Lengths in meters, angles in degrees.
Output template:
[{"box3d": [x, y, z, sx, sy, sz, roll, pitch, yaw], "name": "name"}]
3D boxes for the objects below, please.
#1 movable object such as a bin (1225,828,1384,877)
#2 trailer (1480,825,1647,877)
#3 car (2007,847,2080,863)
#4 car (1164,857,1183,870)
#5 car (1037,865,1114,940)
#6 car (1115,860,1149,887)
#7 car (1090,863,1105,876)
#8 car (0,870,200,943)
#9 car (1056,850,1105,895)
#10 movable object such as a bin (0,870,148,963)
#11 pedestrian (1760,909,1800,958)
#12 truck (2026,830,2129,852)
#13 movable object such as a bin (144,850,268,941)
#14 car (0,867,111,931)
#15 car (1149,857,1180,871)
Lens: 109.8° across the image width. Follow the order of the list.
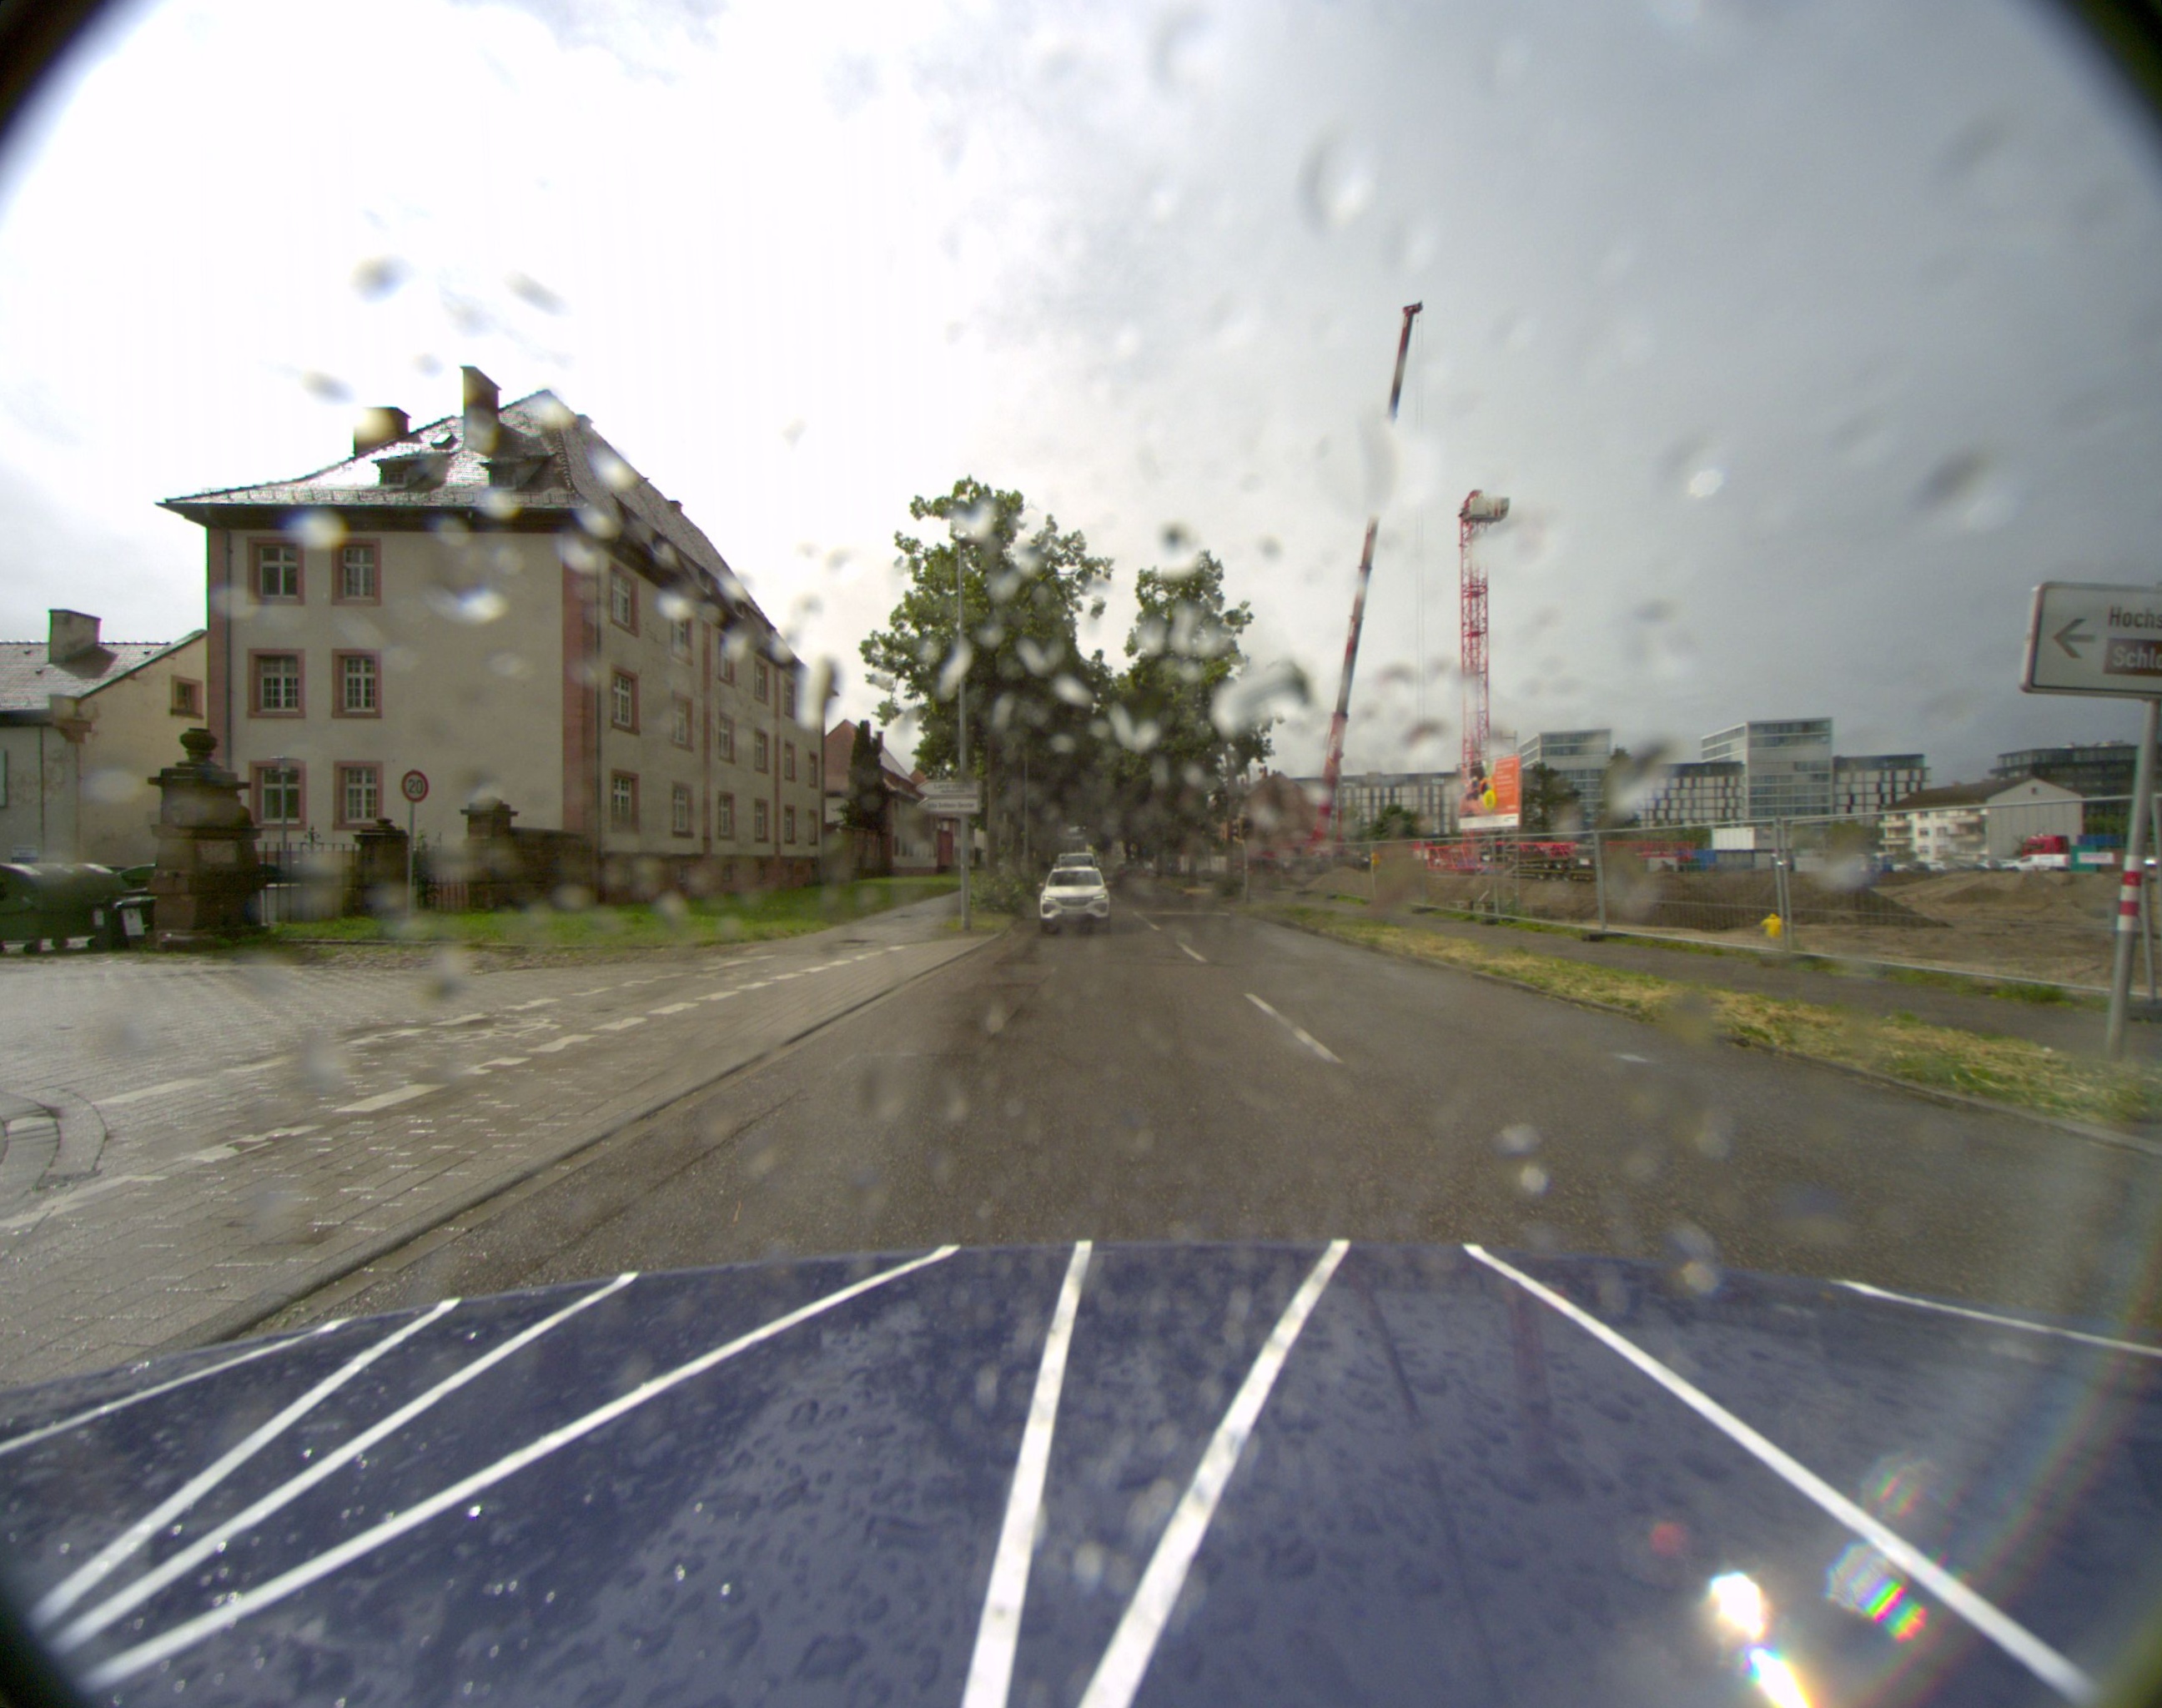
[{"box3d": [23.695, -0.148, 81.184, 15.943, 4.532, 3.101, -2, 1, 2], "name": "movable object such as a bin"}, {"box3d": [35.400, 0.027, 56.984, 2.968, 3.213, 14.312, -4, -1, -2], "name": "trailer"}, {"box3d": [98.938, 0.083, 78.194, 1.821, 1.509, 4.581, -2, 1, 2], "name": "car"}, {"box3d": [12.132, 1.219, 99.932, 1.693, 1.521, 3.998, -2, 1, -3], "name": "car"}, {"box3d": [-0.150, 1.067, 18.298, 1.608, 1.499, 3.999, -2, 0, -1], "name": "car"}, {"box3d": [3.107, 1.156, 46.692, 1.845, 1.598, 4.000, 1, 0, 0], "name": "car"}, {"box3d": [2.025, 1.947, 93.628, 1.818, 1.531, 3.982, 1, -1, 1], "name": "car"}, {"box3d": [-23.077, 1.116, 17.394, 1.599, 1.438, 3.575, 1, -1, 1], "name": "car"}, {"box3d": [-0.112, 0.852, 38.025, 2.108, 1.990, 5.432, -2, 1, -3], "name": "car"}, {"box3d": [-17.064, 1.003, 12.739, 1.109, 1.448, 1.391, 1, 0, 0], "name": "movable object such as a bin"}, {"box3d": [25.136, 2.845, 27.338, 0.588, 1.675, 0.849, 3, 1, 4], "name": "pedestrian"}, {"box3d": [104.346, -1.346, 79.693, 1.901, 2.067, 6.319, -2, 1, -18], "name": "truck"}, {"box3d": [-14.743, 0.681, 12.842, 0.801, 1.448, 1.097, 1, 0, 0], "name": "movable object such as a bin"}, {"box3d": [-25.843, 1.059, 17.816, 1.599, 1.438, 3.575, 1, -1, 1], "name": "car"}, {"box3d": [10.418, 1.269, 95.029, 3.868, 1.543, 1.698, -2, 1, 5], "name": "car"}]
